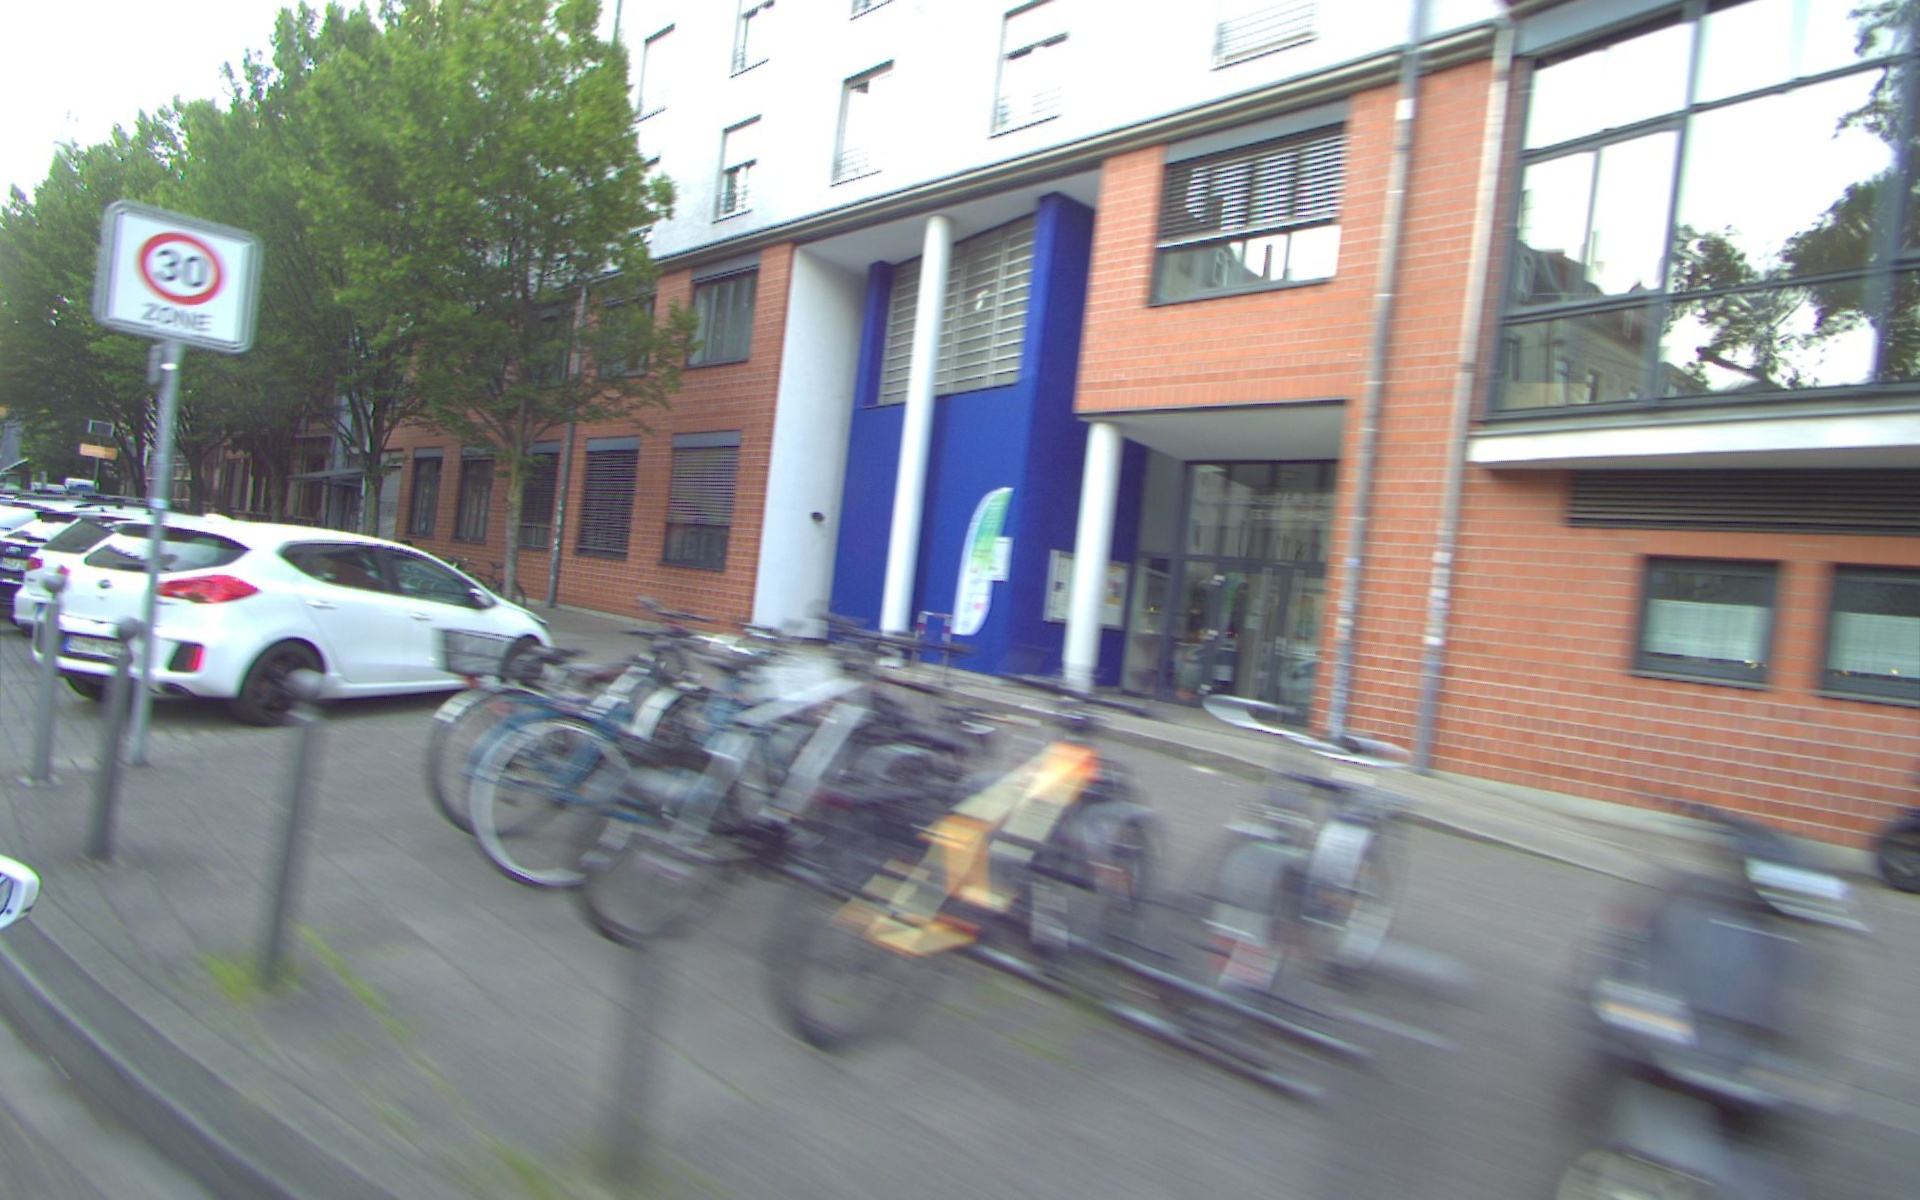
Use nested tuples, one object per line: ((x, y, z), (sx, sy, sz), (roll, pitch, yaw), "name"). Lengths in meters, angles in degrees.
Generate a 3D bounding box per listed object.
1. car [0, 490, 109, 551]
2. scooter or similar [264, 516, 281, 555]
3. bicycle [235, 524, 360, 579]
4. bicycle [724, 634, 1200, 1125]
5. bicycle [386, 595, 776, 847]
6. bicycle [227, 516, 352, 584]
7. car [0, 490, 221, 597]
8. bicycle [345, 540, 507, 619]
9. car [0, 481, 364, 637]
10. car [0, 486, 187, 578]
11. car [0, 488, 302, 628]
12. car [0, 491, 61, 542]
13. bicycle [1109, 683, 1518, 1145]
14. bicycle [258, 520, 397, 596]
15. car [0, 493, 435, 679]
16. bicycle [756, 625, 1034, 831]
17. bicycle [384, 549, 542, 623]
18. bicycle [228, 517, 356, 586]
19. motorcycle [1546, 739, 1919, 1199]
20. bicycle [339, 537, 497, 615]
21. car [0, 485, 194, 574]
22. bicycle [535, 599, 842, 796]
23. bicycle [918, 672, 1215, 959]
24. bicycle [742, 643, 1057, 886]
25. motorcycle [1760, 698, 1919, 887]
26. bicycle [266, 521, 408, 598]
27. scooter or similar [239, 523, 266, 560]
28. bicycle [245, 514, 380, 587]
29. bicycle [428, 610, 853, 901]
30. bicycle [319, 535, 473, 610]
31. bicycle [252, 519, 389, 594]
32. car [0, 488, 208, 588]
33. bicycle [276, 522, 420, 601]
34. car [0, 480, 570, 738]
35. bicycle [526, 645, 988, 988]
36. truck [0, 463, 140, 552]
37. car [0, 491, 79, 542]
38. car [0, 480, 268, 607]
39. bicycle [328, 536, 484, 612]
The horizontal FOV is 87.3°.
((-26.995, -2.339, 28.925), (1.741, 1.493, 3.407), (7, 1, 12), "car")
((-22.603, -2.121, 33.080), (0.408, 1.235, 1.758), (1, 4, -35), "scooter or similar")
((-16.387, -1.184, 24.941), (0.591, 1.262, 2.523), (7, 5, 45), "bicycle")
((0.118, 0.757, 3.307), (0.465, 1.191, 1.704), (7, 2, 41), "bicycle")
((-1.876, 0.586, 5.253), (0.439, 1.080, 1.854), (7, 2, 41), "bicycle")
((-17.290, -1.273, 26.011), (0.591, 1.396, 2.528), (7, 0, 45), "bicycle")
((-15.283, -0.974, 17.442), (1.690, 1.500, 3.607), (7, 0, 15), "car")
((-9.913, -0.353, 18.773), (0.555, 1.181, 2.528), (7, 0, 45), "bicycle")
((-9.650, -0.399, 12.316), (1.677, 1.541, 4.002), (5, -1, 12), "car")
((-18.995, -1.453, 20.995), (1.773, 1.553, 4.389), (7, 0, 10), "car")
((-11.325, -0.514, 13.571), (1.605, 1.556, 4.002), (7, 0, 12), "car")
((-33.423, -3.021, 34.378), (1.607, 1.548, 3.896), (7, -1, 3), "car")
((1.382, 0.946, 3.680), (0.650, 1.161, 1.854), (7, 3, 42), "bicycle")
((-14.407, -0.942, 23.000), (0.591, 1.396, 2.528), (7, 0, 45), "bicycle")
((-7.789, -0.101, 10.621), (1.839, 1.491, 4.002), (5, -1, 10), "car")
((-0.338, 0.758, 6.357), (0.516, 1.080, 1.854), (7, 2, 41), "bicycle")
((-8.570, -0.219, 17.435), (0.671, 1.114, 2.337), (7, 3, 45), "bicycle")
((-16.828, -1.210, 25.416), (0.591, 1.396, 2.528), (7, 0, 45), "bicycle")
((2.006, 1.034, 2.651), (0.637, 1.116, 1.644), (7, 2, 34), "motorcycle")
((-10.302, -0.432, 19.217), (0.555, 1.181, 2.528), (7, 0, 45), "bicycle")
((-20.744, -1.646, 23.603), (1.726, 1.657, 3.997), (7, 0, 23), "car")
((-1.695, 0.611, 6.587), (0.516, 1.080, 1.907), (7, 2, 41), "bicycle")
((0.549, 0.887, 4.601), (0.465, 1.052, 1.536), (7, 2, 41), "bicycle")
((-0.233, 0.798, 5.324), (0.396, 1.052, 1.854), (7, 2, 41), "bicycle")
((6.743, 1.374, 6.746), (2.054, 1.118, 0.587), (6, 3, 40), "motorcycle")
((-13.862, -0.881, 22.467), (0.591, 1.396, 2.528), (7, 0, 45), "bicycle")
((-24.676, -2.042, 35.103), (0.365, 1.234, 1.611), (3, 2, -23), "scooter or similar")
((-15.369, -1.154, 23.956), (0.591, 1.396, 2.528), (7, 0, 45), "bicycle")
((-1.372, 0.650, 4.677), (0.439, 1.080, 1.854), (7, 2, 41), "bicycle")
((-11.165, -0.529, 20.006), (0.555, 1.181, 2.528), (7, 0, 45), "bicycle")
((-14.899, -0.991, 23.500), (0.591, 1.396, 2.528), (7, 0, 45), "bicycle")
((-16.874, -1.174, 19.339), (1.533, 1.553, 3.607), (7, 0, 15), "car")
((-13.332, -0.822, 22.006), (0.591, 1.396, 2.528), (7, 0, 45), "bicycle")
((-5.403, 0.108, 8.641), (1.736, 1.525, 4.002), (7, 0, 13), "car")
((-0.696, 0.752, 4.058), (0.465, 1.052, 1.854), (7, 2, 41), "bicycle")
((-39.706, -4.046, 43.387), (2.236, 3.009, 6.309), (3, -4, 44), "truck")
((-31.505, -2.844, 32.851), (1.729, 1.455, 3.838), (7, 1, 8), "car")
((-13.155, -0.818, 15.745), (1.683, 1.600, 3.607), (7, 0, 10), "car")
((-10.737, -0.476, 19.584), (0.555, 1.181, 2.528), (7, 0, 45), "bicycle")
